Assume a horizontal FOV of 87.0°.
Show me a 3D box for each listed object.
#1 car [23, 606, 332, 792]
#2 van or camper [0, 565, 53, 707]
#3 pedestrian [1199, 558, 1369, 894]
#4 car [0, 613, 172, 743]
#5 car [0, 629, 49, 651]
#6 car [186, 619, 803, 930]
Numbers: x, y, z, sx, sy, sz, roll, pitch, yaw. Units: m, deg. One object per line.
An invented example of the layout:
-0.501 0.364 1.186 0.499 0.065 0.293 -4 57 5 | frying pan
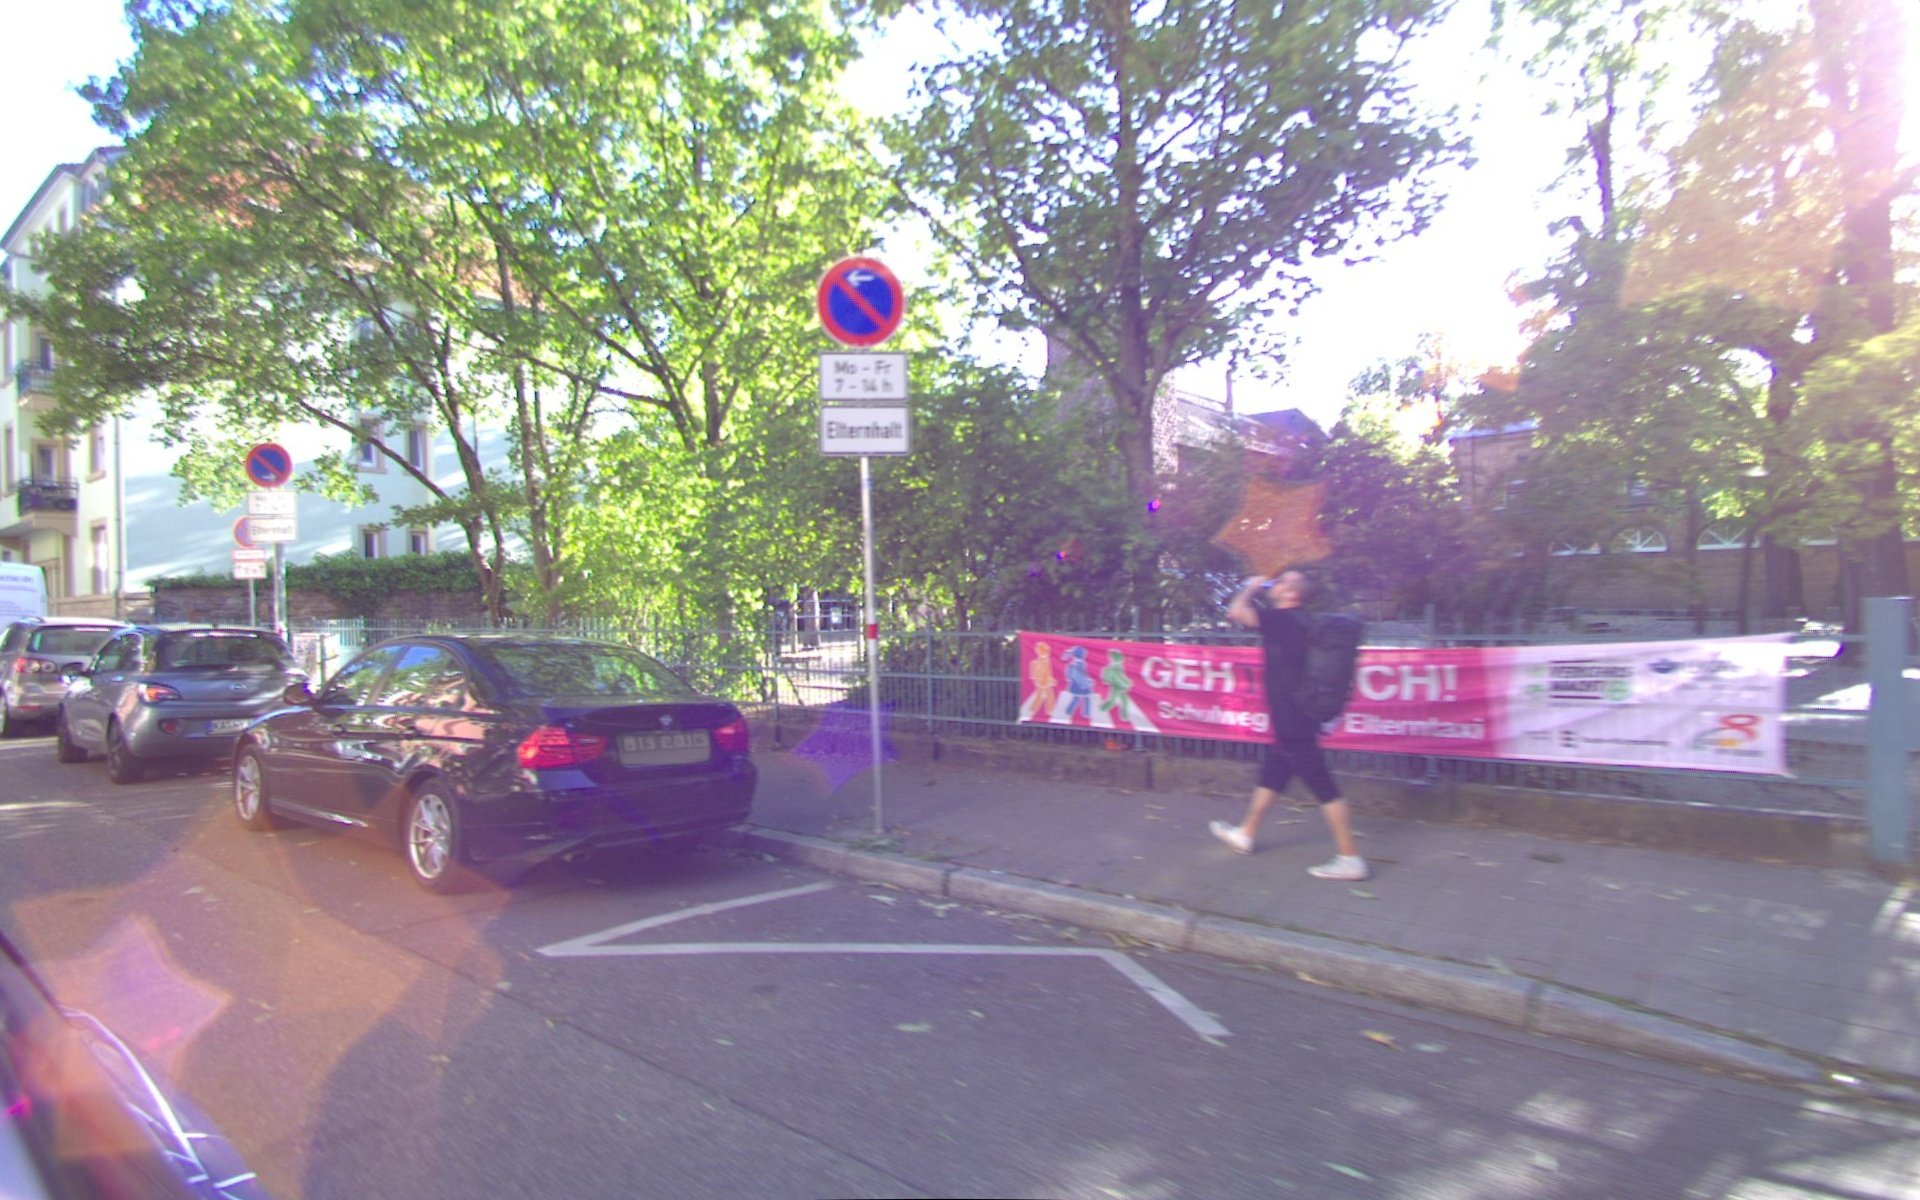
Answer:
-8.303 0.934 10.615 4.147 1.585 1.659 -2 -4 40 | car
-21.383 0.763 21.549 5.844 2.790 2.108 -2 -3 39 | van or camper
1.705 0.591 5.283 0.529 1.589 0.872 -2 0 39 | pedestrian
-13.092 1.036 14.550 4.463 1.603 1.763 -2 -3 38 | car
-75.824 3.207 80.887 1.915 1.698 4.034 -2 -2 29 | car
-3.336 0.888 6.753 4.772 1.406 1.697 -2 -4 38 | car
